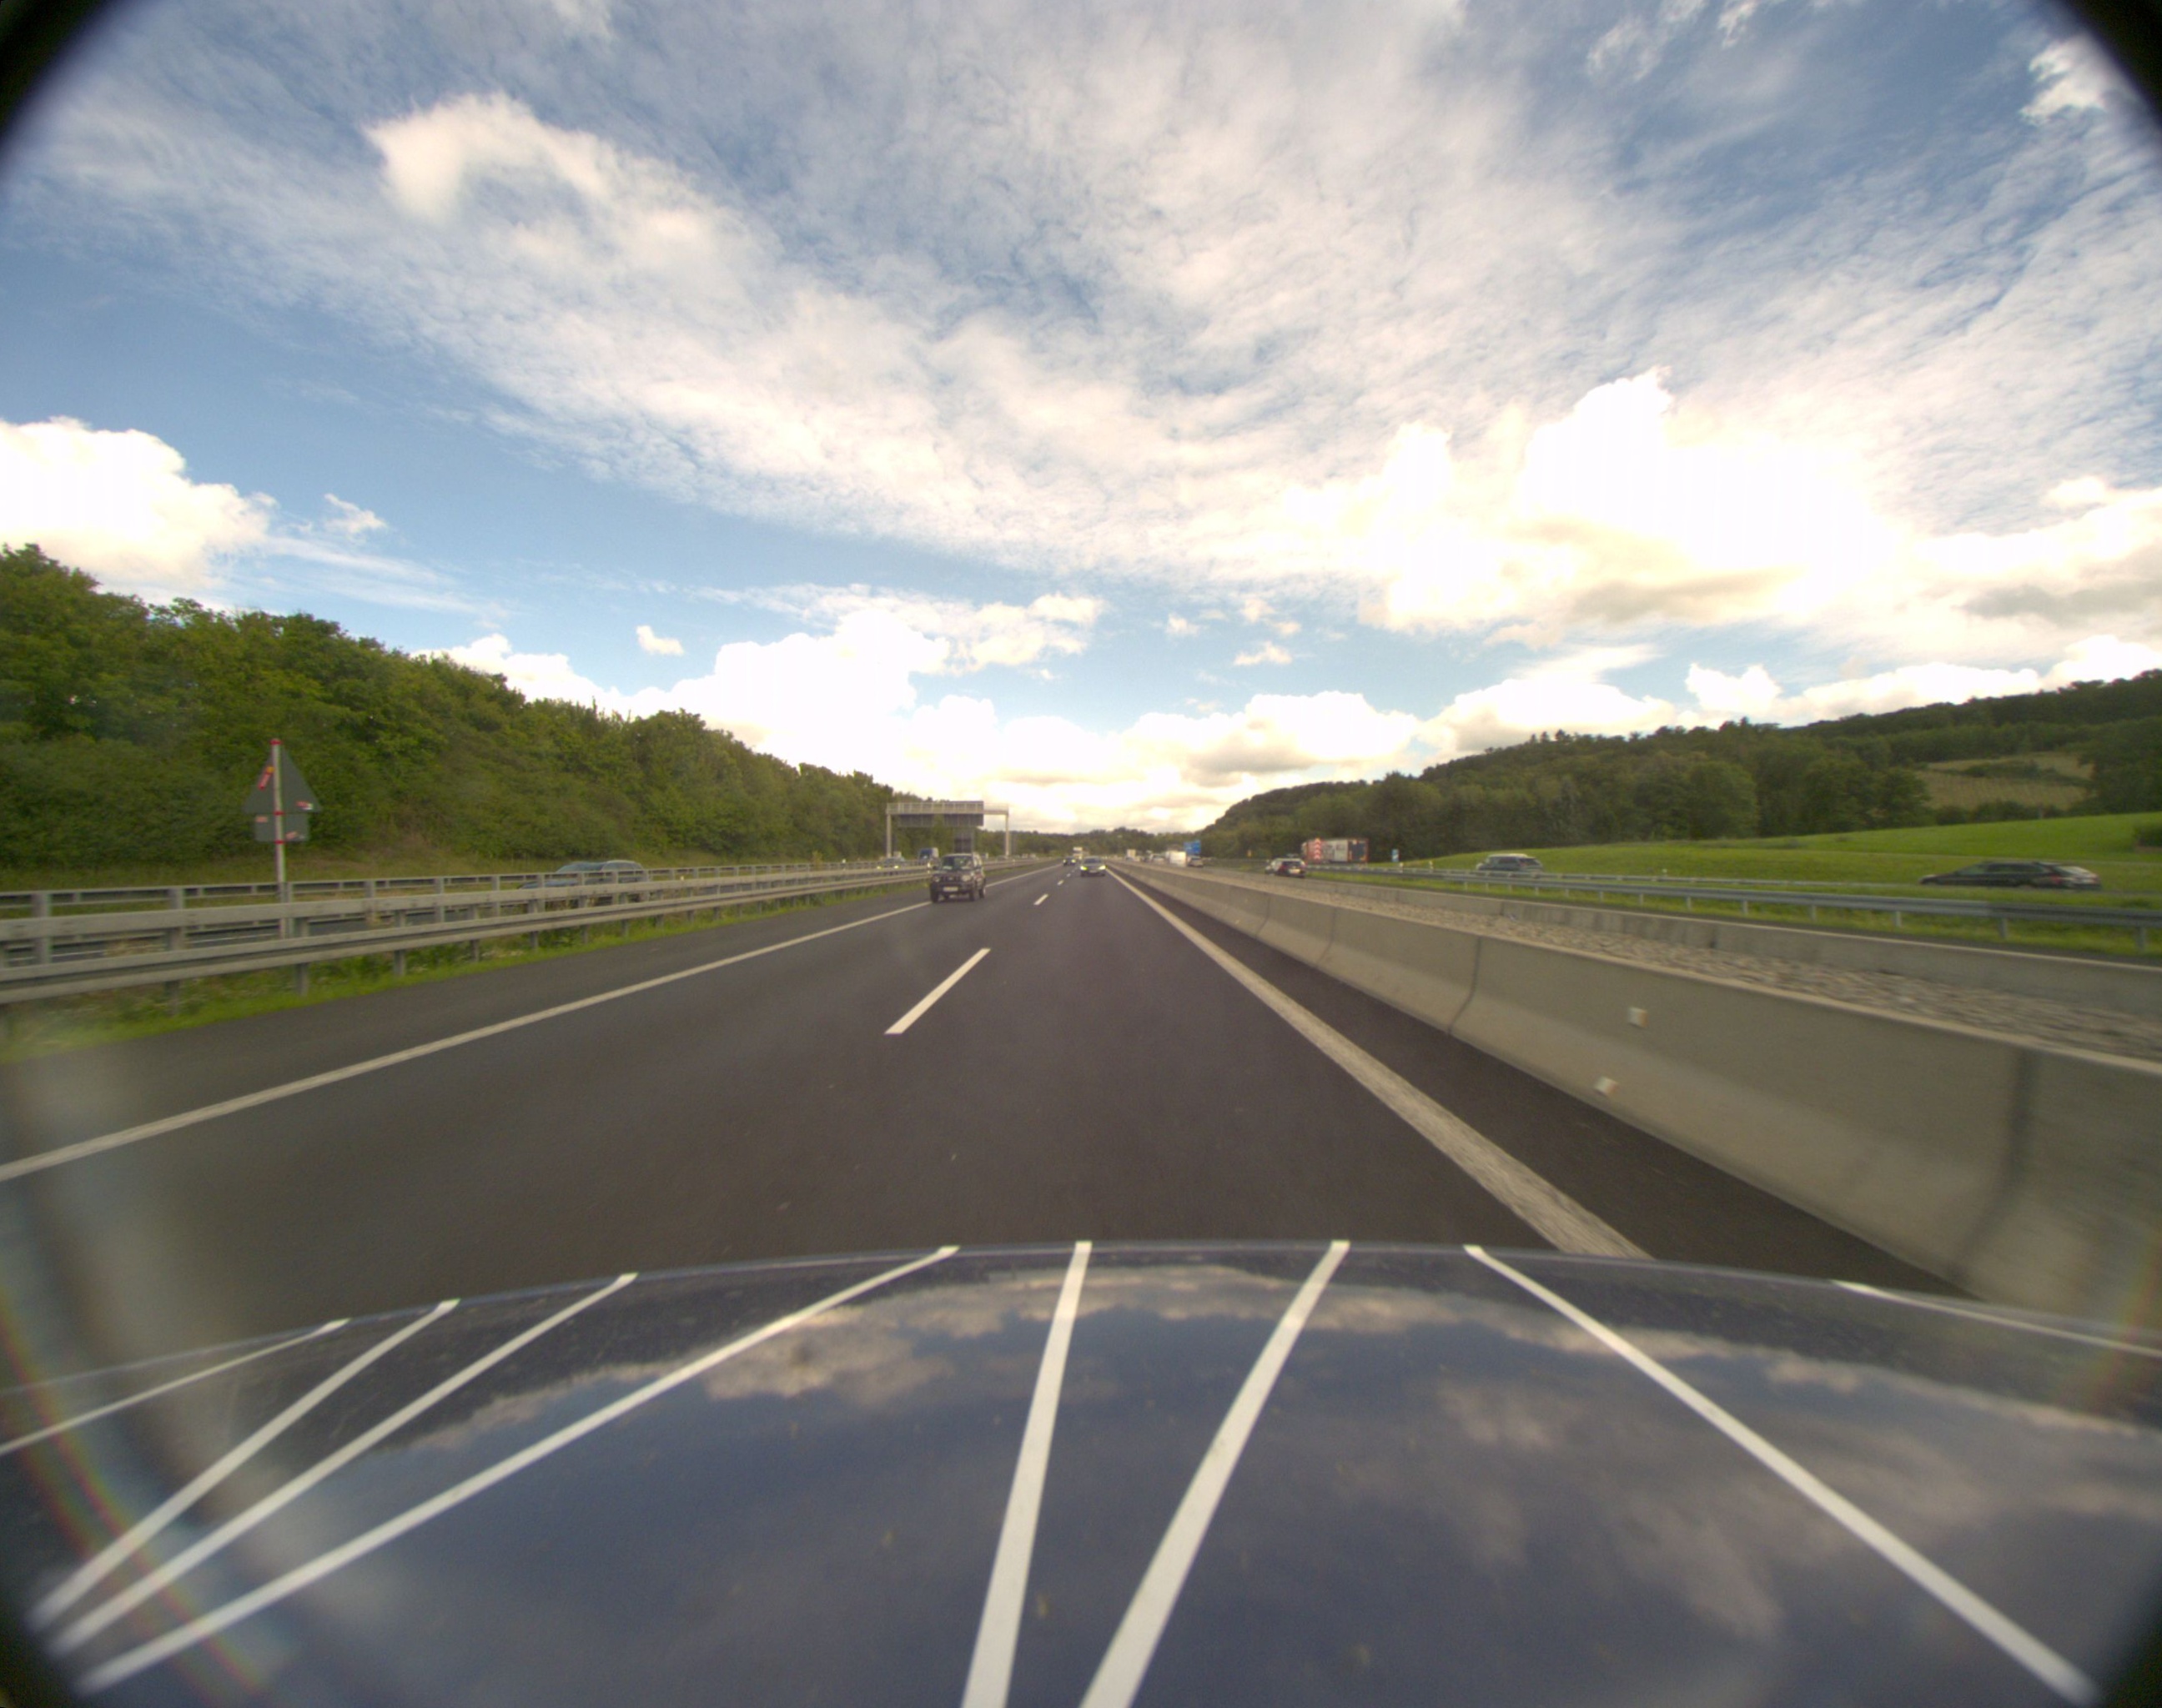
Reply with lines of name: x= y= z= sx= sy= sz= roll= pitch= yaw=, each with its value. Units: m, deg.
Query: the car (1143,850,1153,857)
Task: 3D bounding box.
car: x=14.759 y=-0.146 z=166.991 sx=1.805 sy=1.608 sz=4.301 roll=1 pitch=1 yaw=1

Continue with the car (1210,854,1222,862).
car: x=28.239 y=0.888 z=159.206 sx=1.805 sy=1.608 sz=4.301 roll=1 pitch=1 yaw=1

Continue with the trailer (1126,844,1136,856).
trailer: x=16.540 y=-1.327 z=250.483 sx=2.494 sy=4.105 sz=13.282 roll=1 pitch=1 yaw=1

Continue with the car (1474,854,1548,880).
car: x=28.175 y=0.801 z=50.012 sx=1.777 sy=1.539 sz=4.887 roll=1 pitch=1 yaw=-4

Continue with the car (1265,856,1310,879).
car: x=13.445 y=0.857 z=49.768 sx=1.758 sy=1.394 sz=4.691 roll=1 pitch=1 yaw=1

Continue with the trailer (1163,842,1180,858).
trailer: x=31.186 y=-1.398 z=263.467 sx=3.117 sy=5.130 sz=14.712 roll=1 pitch=1 yaw=-4

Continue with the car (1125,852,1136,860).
car: x=10.805 y=0.409 z=166.040 sx=1.932 sy=1.608 sz=5.418 roll=1 pitch=1 yaw=1

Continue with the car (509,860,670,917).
car: x=-14.552 y=0.951 z=22.837 sx=1.998 sy=1.476 sz=4.310 roll=-1 pitch=1 yaw=0

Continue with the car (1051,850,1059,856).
car: x=-7.383 y=-0.212 z=217.215 sx=1.998 sy=1.608 sz=5.003 roll=1 pitch=1 yaw=3

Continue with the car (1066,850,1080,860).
car: x=-1.316 y=0.166 z=126.515 sx=1.998 sy=1.591 sz=4.000 roll=1 pitch=1 yaw=2

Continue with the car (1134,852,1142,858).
car: x=15.609 y=0.367 z=207.459 sx=1.998 sy=1.608 sz=5.002 roll=1 pitch=1 yaw=1

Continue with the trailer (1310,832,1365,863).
trailer: x=33.389 y=-0.829 z=99.768 sx=1.999 sy=3.715 sz=13.239 roll=1 pitch=1 yaw=-3

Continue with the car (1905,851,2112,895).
car: x=35.424 y=0.666 z=29.286 sx=1.777 sy=1.539 sz=4.887 roll=1 pitch=1 yaw=-4

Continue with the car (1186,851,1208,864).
car: x=14.474 y=0.397 z=94.986 sx=1.998 sy=1.523 sz=4.507 roll=1 pitch=1 yaw=1

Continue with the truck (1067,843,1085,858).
truck: x=-1.411 y=-1.131 z=230.445 sx=4.947 sy=4.306 sz=14.629 roll=1 pitch=1 yaw=2

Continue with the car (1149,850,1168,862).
car: x=10.074 y=0.208 z=99.061 sx=1.998 sy=1.523 sz=5.021 roll=1 pitch=1 yaw=1

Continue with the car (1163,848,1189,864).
car: x=9.838 y=0.158 z=78.741 sx=1.998 sy=1.523 sz=5.747 roll=1 pitch=1 yaw=1

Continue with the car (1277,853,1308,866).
car: x=24.019 y=0.646 z=86.410 sx=1.778 sy=1.392 sz=4.395 roll=1 pitch=1 yaw=-7

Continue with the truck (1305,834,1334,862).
truck: x=33.067 y=-0.885 z=105.461 sx=1.999 sy=3.740 sz=5.147 roll=1 pitch=1 yaw=-4

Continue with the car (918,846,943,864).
car: x=-18.456 y=0.079 z=93.487 sx=1.998 sy=2.173 sz=5.127 roll=-1 pitch=1 yaw=0

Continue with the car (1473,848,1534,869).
car: x=33.299 y=0.328 z=59.994 sx=1.777 sy=1.539 sz=4.887 roll=1 pitch=1 yaw=-4

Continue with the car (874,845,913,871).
car: x=-14.768 y=0.304 z=60.113 sx=1.998 sy=2.002 sz=4.000 roll=1 pitch=1 yaw=1

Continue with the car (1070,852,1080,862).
car: x=-1.198 y=0.569 z=158.087 sx=1.998 sy=2.002 sz=4.000 roll=1 pitch=1 yaw=1

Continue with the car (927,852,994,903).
car: x=-4.402 y=0.820 z=28.389 sx=1.670 sy=1.722 sz=4.207 roll=0 pitch=1 yaw=2

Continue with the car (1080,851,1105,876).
car: x=0.877 y=0.630 z=55.094 sx=1.724 sy=1.722 sz=3.939 roll=0 pitch=1 yaw=2
